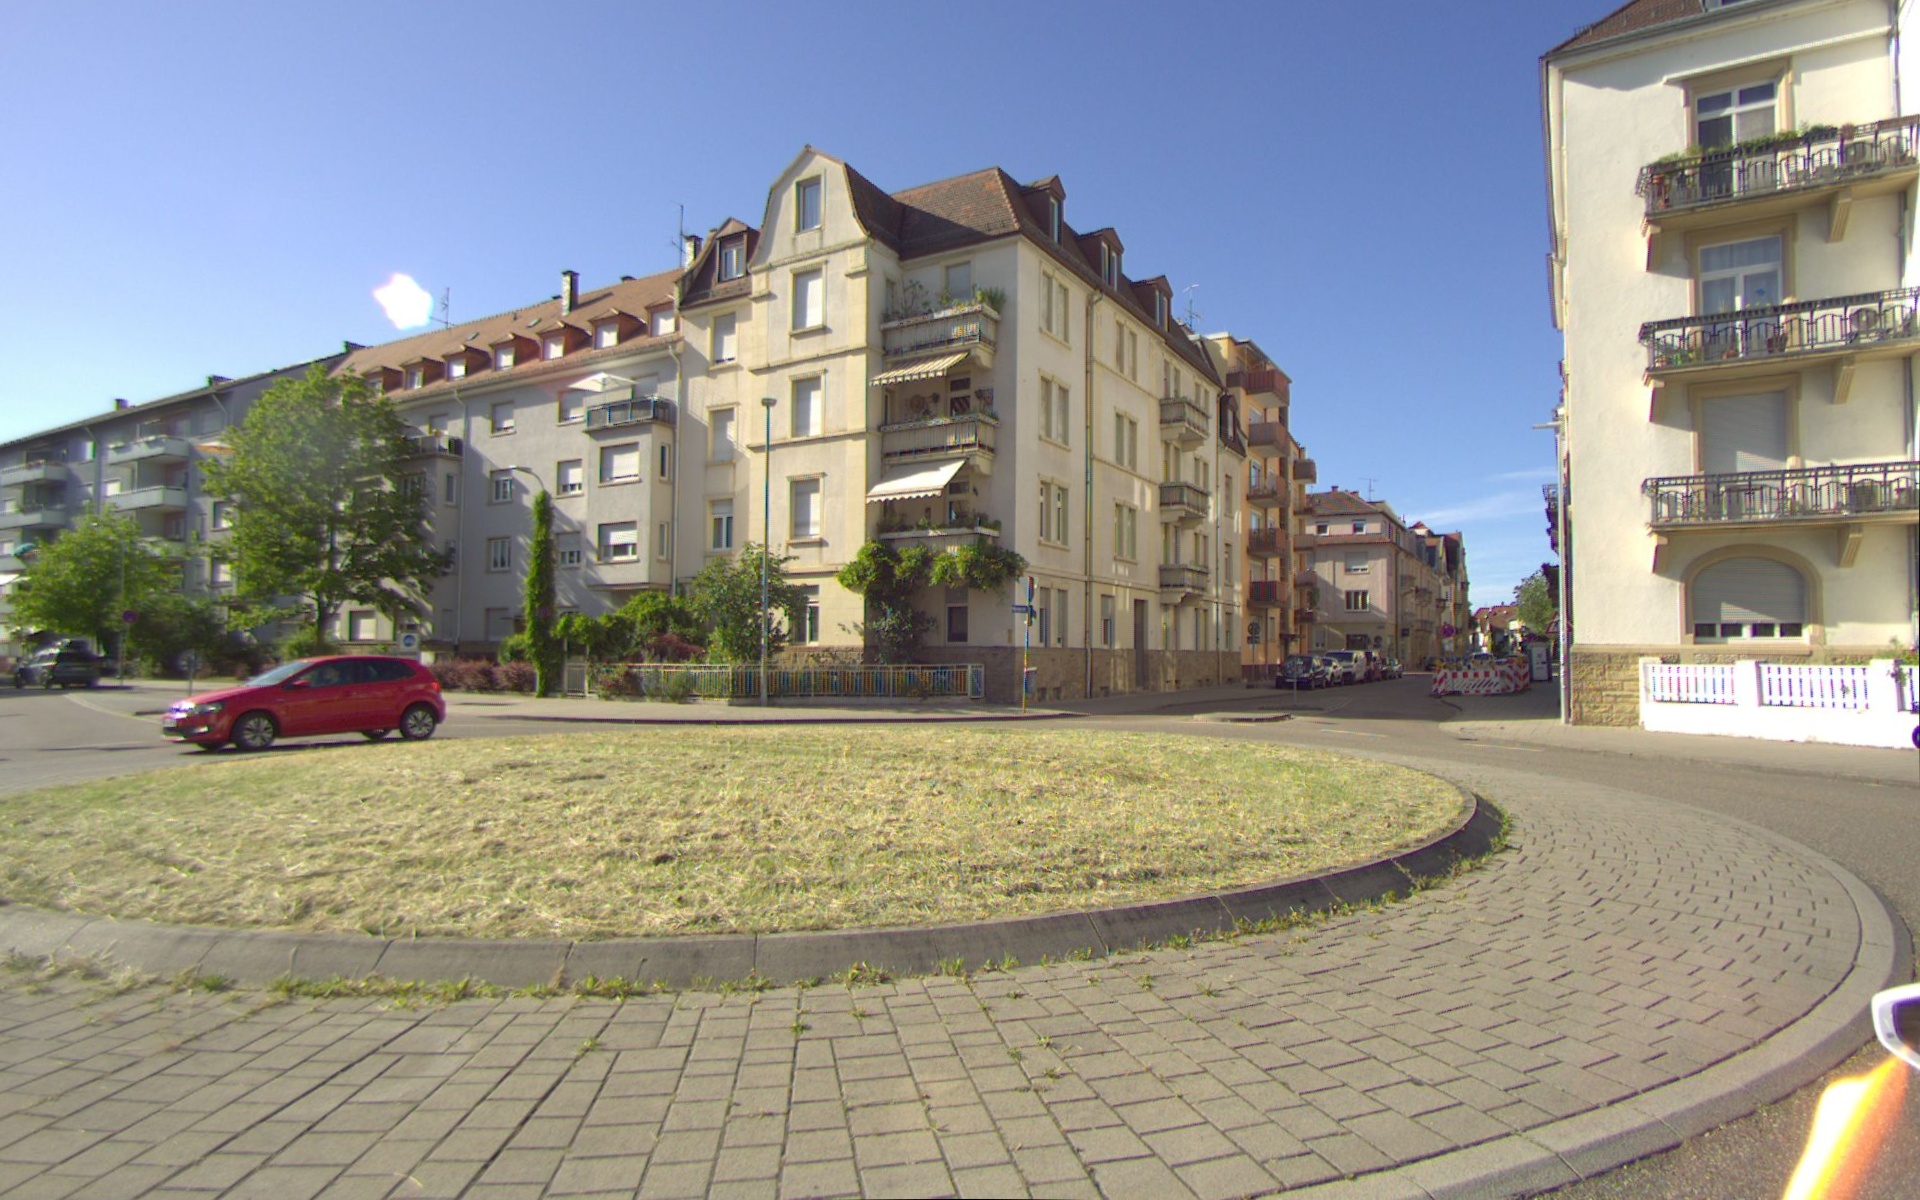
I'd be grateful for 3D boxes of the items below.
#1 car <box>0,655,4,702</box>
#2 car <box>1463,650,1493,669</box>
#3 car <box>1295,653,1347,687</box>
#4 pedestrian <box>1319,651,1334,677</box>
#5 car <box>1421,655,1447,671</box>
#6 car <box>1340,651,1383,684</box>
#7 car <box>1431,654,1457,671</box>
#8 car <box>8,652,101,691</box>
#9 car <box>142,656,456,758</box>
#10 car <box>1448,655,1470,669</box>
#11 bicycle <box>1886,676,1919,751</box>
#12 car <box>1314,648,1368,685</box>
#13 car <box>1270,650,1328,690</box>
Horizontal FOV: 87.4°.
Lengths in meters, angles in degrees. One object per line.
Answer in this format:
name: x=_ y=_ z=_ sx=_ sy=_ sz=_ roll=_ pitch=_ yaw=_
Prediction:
car: x=-37.606 y=2.903 z=37.443 sx=4.200 sy=1.718 sz=1.876 roll=-1 pitch=-2 yaw=32
car: x=42.137 y=4.857 z=81.731 sx=1.813 sy=1.449 sz=4.021 roll=-3 pitch=-6 yaw=32
car: x=18.814 y=3.620 z=52.276 sx=1.737 sy=1.642 sz=4.286 roll=0 pitch=-3 yaw=31
pedestrian: x=26.636 y=4.630 z=73.027 sx=0.910 sy=1.841 sz=0.993 roll=0 pitch=-3 yaw=28
car: x=44.739 y=5.967 z=94.775 sx=1.656 sy=1.445 sz=4.264 roll=1 pitch=-3 yaw=33
car: x=25.021 y=4.173 z=62.476 sx=1.737 sy=1.950 sz=4.925 roll=0 pitch=-3 yaw=31
car: x=50.099 y=6.446 z=103.948 sx=1.974 sy=1.602 sz=4.480 roll=1 pitch=-3 yaw=31
car: x=-38.298 y=2.984 z=42.471 sx=3.931 sy=1.559 sz=1.847 roll=-2 pitch=-4 yaw=32
car: x=-10.682 y=1.663 z=16.495 sx=1.690 sy=1.400 sz=3.986 roll=-3 pitch=-4 yaw=36
car: x=58.549 y=7.269 z=117.791 sx=1.950 sy=1.502 sz=4.321 roll=1 pitch=-3 yaw=31
bicycle: x=15.770 y=1.797 z=15.385 sx=0.754 sy=1.172 sz=2.279 roll=2 pitch=-3 yaw=-16
car: x=21.533 y=3.721 z=56.697 sx=1.947 sy=1.950 sz=5.299 roll=0 pitch=-3 yaw=31
car: x=16.153 y=3.296 z=47.751 sx=1.737 sy=1.794 sz=4.286 roll=0 pitch=-3 yaw=31
